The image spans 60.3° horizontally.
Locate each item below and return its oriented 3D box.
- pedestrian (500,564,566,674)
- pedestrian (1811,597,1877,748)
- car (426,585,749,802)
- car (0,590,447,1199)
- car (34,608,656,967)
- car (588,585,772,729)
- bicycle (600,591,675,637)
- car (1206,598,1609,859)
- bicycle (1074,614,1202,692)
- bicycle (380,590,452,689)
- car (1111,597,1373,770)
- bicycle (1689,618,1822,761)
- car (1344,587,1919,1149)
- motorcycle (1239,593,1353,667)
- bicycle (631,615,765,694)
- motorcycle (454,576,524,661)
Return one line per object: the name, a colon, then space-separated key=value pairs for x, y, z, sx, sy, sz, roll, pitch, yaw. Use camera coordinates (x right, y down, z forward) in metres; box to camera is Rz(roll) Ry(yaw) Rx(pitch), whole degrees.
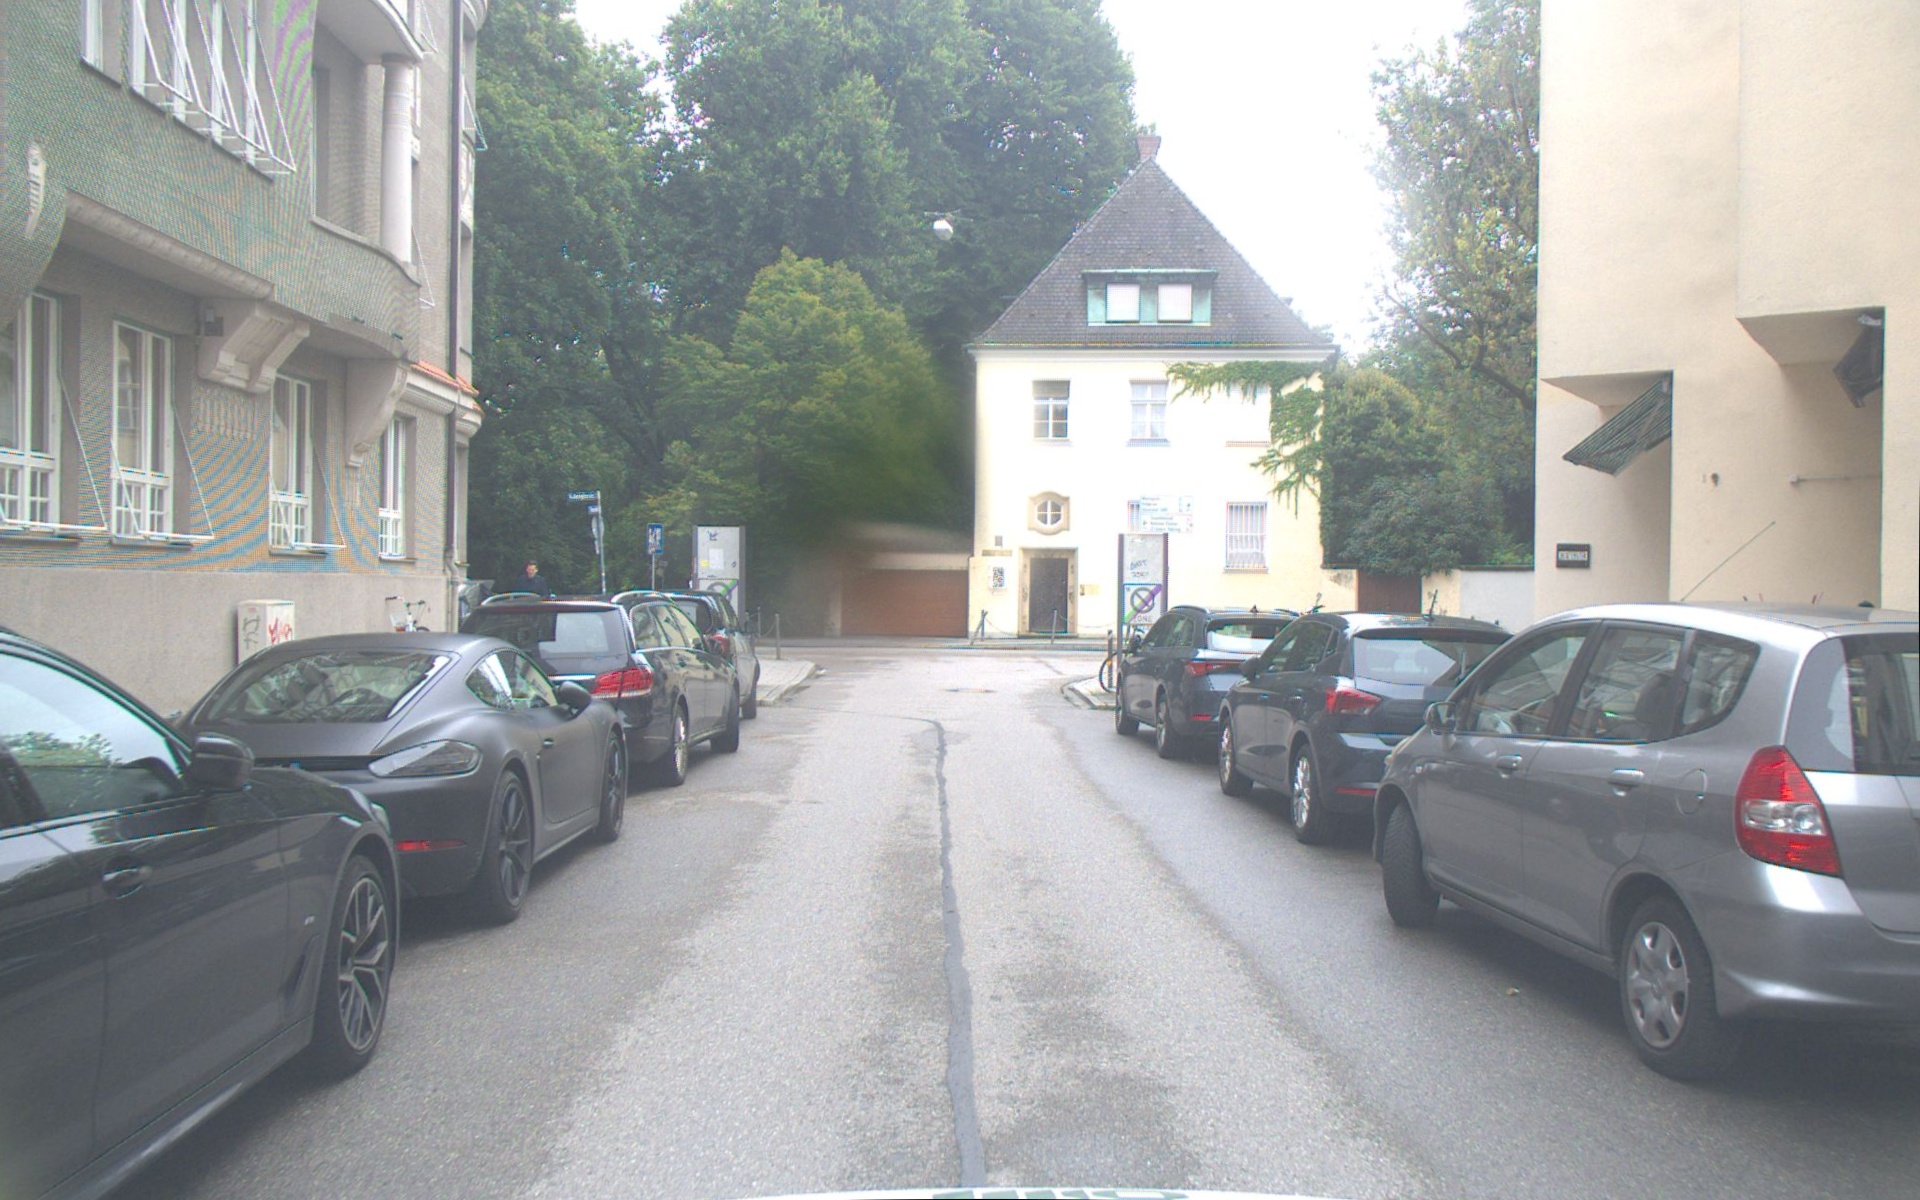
pedestrian: x=-7.201 y=0.306 z=27.925 sx=0.821 sy=1.818 sz=0.936 roll=1 pitch=0 yaw=1
pedestrian: x=8.599 y=0.685 z=16.085 sx=0.521 sy=1.423 sz=0.672 roll=1 pitch=0 yaw=31
car: x=-2.960 y=0.650 z=14.166 sx=1.719 sy=1.541 sz=4.707 roll=0 pitch=1 yaw=0
car: x=-2.690 y=0.722 z=3.438 sx=1.954 sy=1.473 sz=4.776 roll=0 pitch=0 yaw=-3
car: x=-2.804 y=0.753 z=8.584 sx=1.719 sy=1.354 sz=4.096 roll=0 pitch=1 yaw=0
car: x=-3.191 y=0.603 z=19.325 sx=1.669 sy=1.541 sz=2.911 roll=0 pitch=0 yaw=0
bicycle: x=-7.480 y=0.316 z=38.324 sx=1.967 sy=1.028 sz=0.510 roll=1 pitch=0 yaw=36
car: x=2.931 y=0.758 z=11.669 sx=1.601 sy=1.497 sz=3.853 roll=1 pitch=0 yaw=-3
bicycle: x=2.641 y=0.770 z=24.533 sx=1.756 sy=1.104 sz=0.665 roll=0 pitch=2 yaw=26
bicycle: x=-7.835 y=0.550 z=23.880 sx=0.606 sy=1.373 sz=1.673 roll=1 pitch=0 yaw=-6
car: x=2.724 y=0.738 z=16.995 sx=1.659 sy=1.497 sz=4.608 roll=1 pitch=0 yaw=-3
bicycle: x=6.577 y=0.700 z=13.635 sx=0.738 sy=1.050 sz=1.794 roll=-1 pitch=0 yaw=34
car: x=2.941 y=0.744 z=6.616 sx=1.602 sy=1.563 sz=3.851 roll=1 pitch=0 yaw=-5
motorcycle: x=6.396 y=0.565 z=31.490 sx=2.051 sy=1.379 sz=0.811 roll=1 pitch=0 yaw=-25
bicycle: x=-3.648 y=0.760 z=23.071 sx=1.766 sy=1.032 sz=0.540 roll=2 pitch=0 yaw=-3
motorcycle: x=-8.451 y=0.317 z=29.744 sx=0.721 sy=1.466 sz=2.146 roll=1 pitch=0 yaw=-3
